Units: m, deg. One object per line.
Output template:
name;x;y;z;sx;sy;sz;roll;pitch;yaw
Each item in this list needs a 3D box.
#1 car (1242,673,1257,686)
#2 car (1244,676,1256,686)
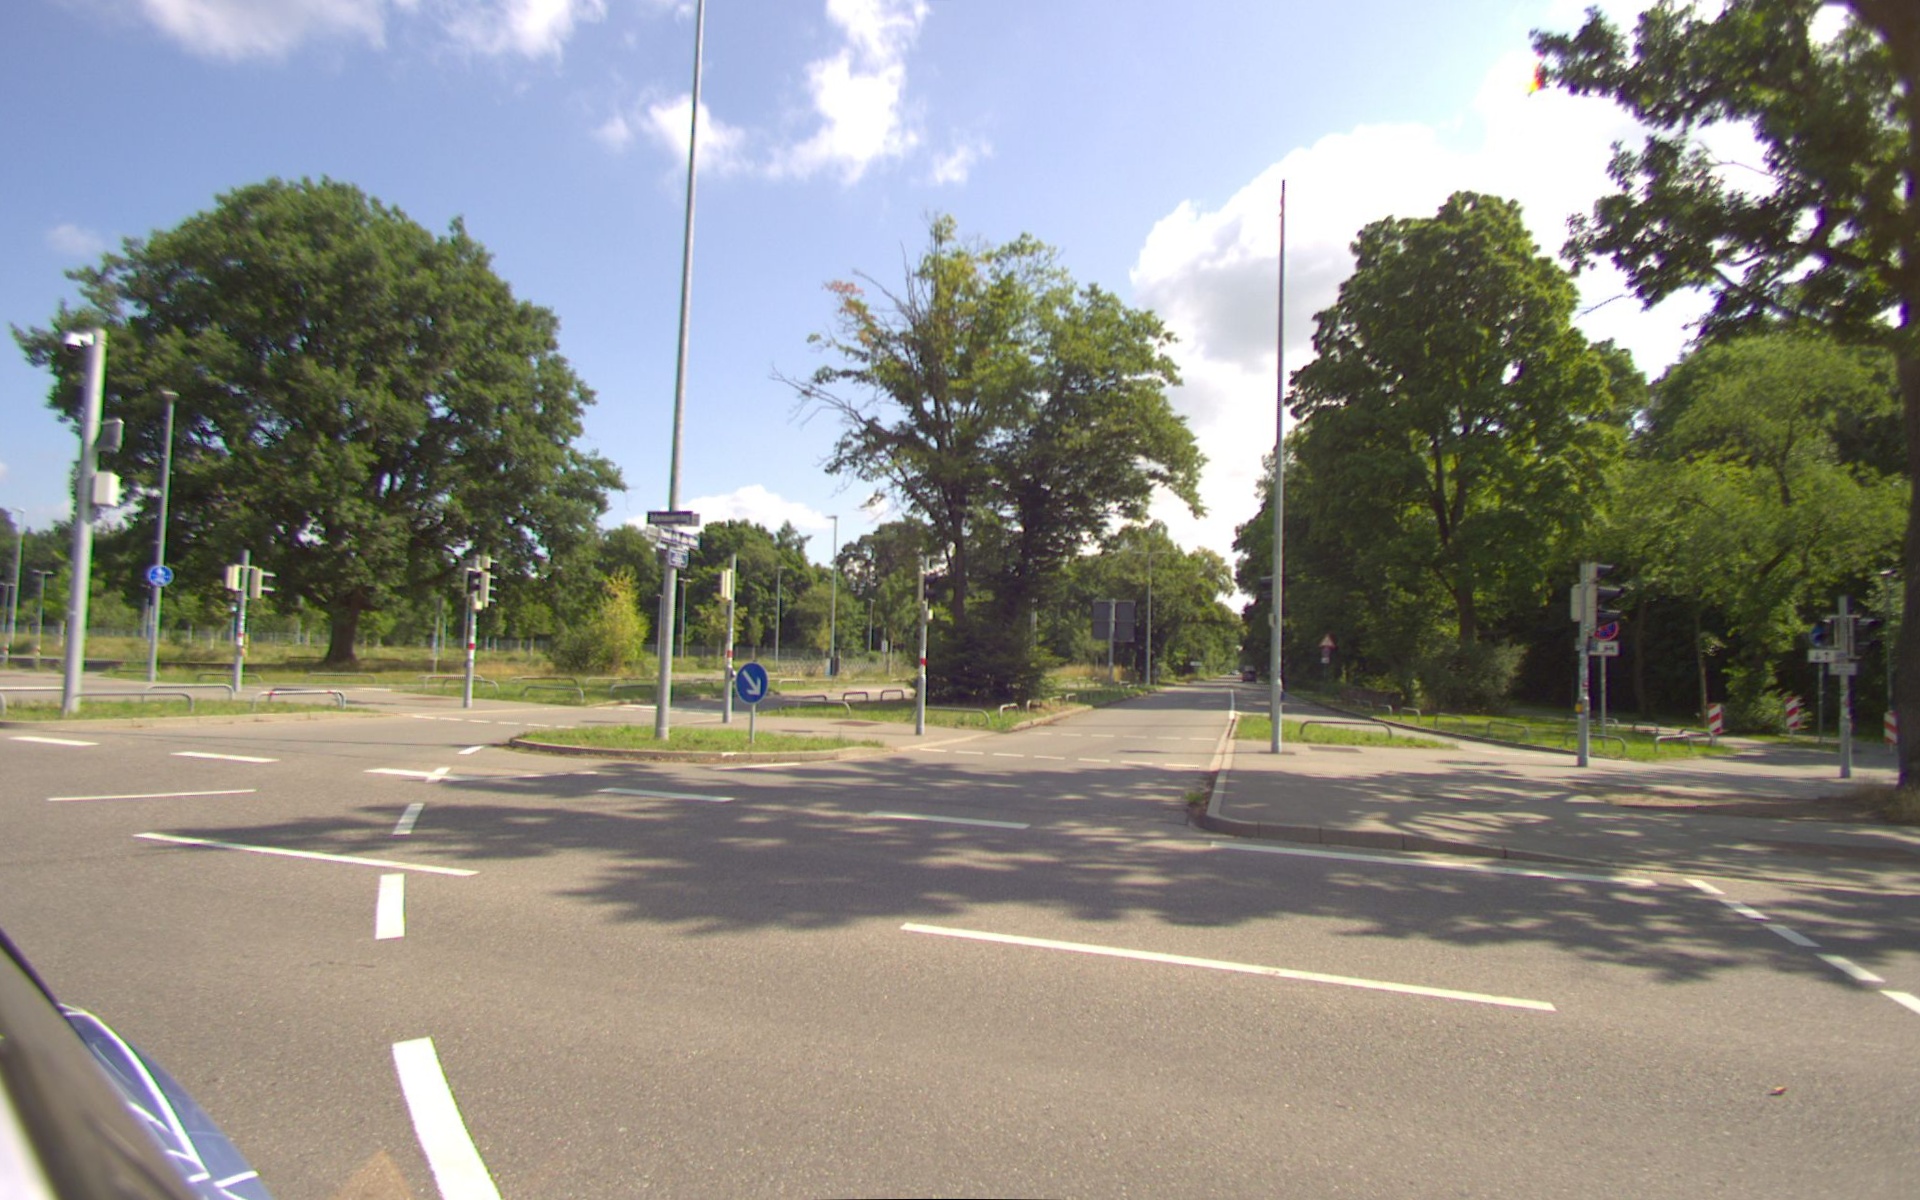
car;37.093;10.227;129.868;1.751;1.642;4.276;-1;-5;16
car;47.855;13.384;166.979;1.688;1.457;4.038;-1;-4;21
